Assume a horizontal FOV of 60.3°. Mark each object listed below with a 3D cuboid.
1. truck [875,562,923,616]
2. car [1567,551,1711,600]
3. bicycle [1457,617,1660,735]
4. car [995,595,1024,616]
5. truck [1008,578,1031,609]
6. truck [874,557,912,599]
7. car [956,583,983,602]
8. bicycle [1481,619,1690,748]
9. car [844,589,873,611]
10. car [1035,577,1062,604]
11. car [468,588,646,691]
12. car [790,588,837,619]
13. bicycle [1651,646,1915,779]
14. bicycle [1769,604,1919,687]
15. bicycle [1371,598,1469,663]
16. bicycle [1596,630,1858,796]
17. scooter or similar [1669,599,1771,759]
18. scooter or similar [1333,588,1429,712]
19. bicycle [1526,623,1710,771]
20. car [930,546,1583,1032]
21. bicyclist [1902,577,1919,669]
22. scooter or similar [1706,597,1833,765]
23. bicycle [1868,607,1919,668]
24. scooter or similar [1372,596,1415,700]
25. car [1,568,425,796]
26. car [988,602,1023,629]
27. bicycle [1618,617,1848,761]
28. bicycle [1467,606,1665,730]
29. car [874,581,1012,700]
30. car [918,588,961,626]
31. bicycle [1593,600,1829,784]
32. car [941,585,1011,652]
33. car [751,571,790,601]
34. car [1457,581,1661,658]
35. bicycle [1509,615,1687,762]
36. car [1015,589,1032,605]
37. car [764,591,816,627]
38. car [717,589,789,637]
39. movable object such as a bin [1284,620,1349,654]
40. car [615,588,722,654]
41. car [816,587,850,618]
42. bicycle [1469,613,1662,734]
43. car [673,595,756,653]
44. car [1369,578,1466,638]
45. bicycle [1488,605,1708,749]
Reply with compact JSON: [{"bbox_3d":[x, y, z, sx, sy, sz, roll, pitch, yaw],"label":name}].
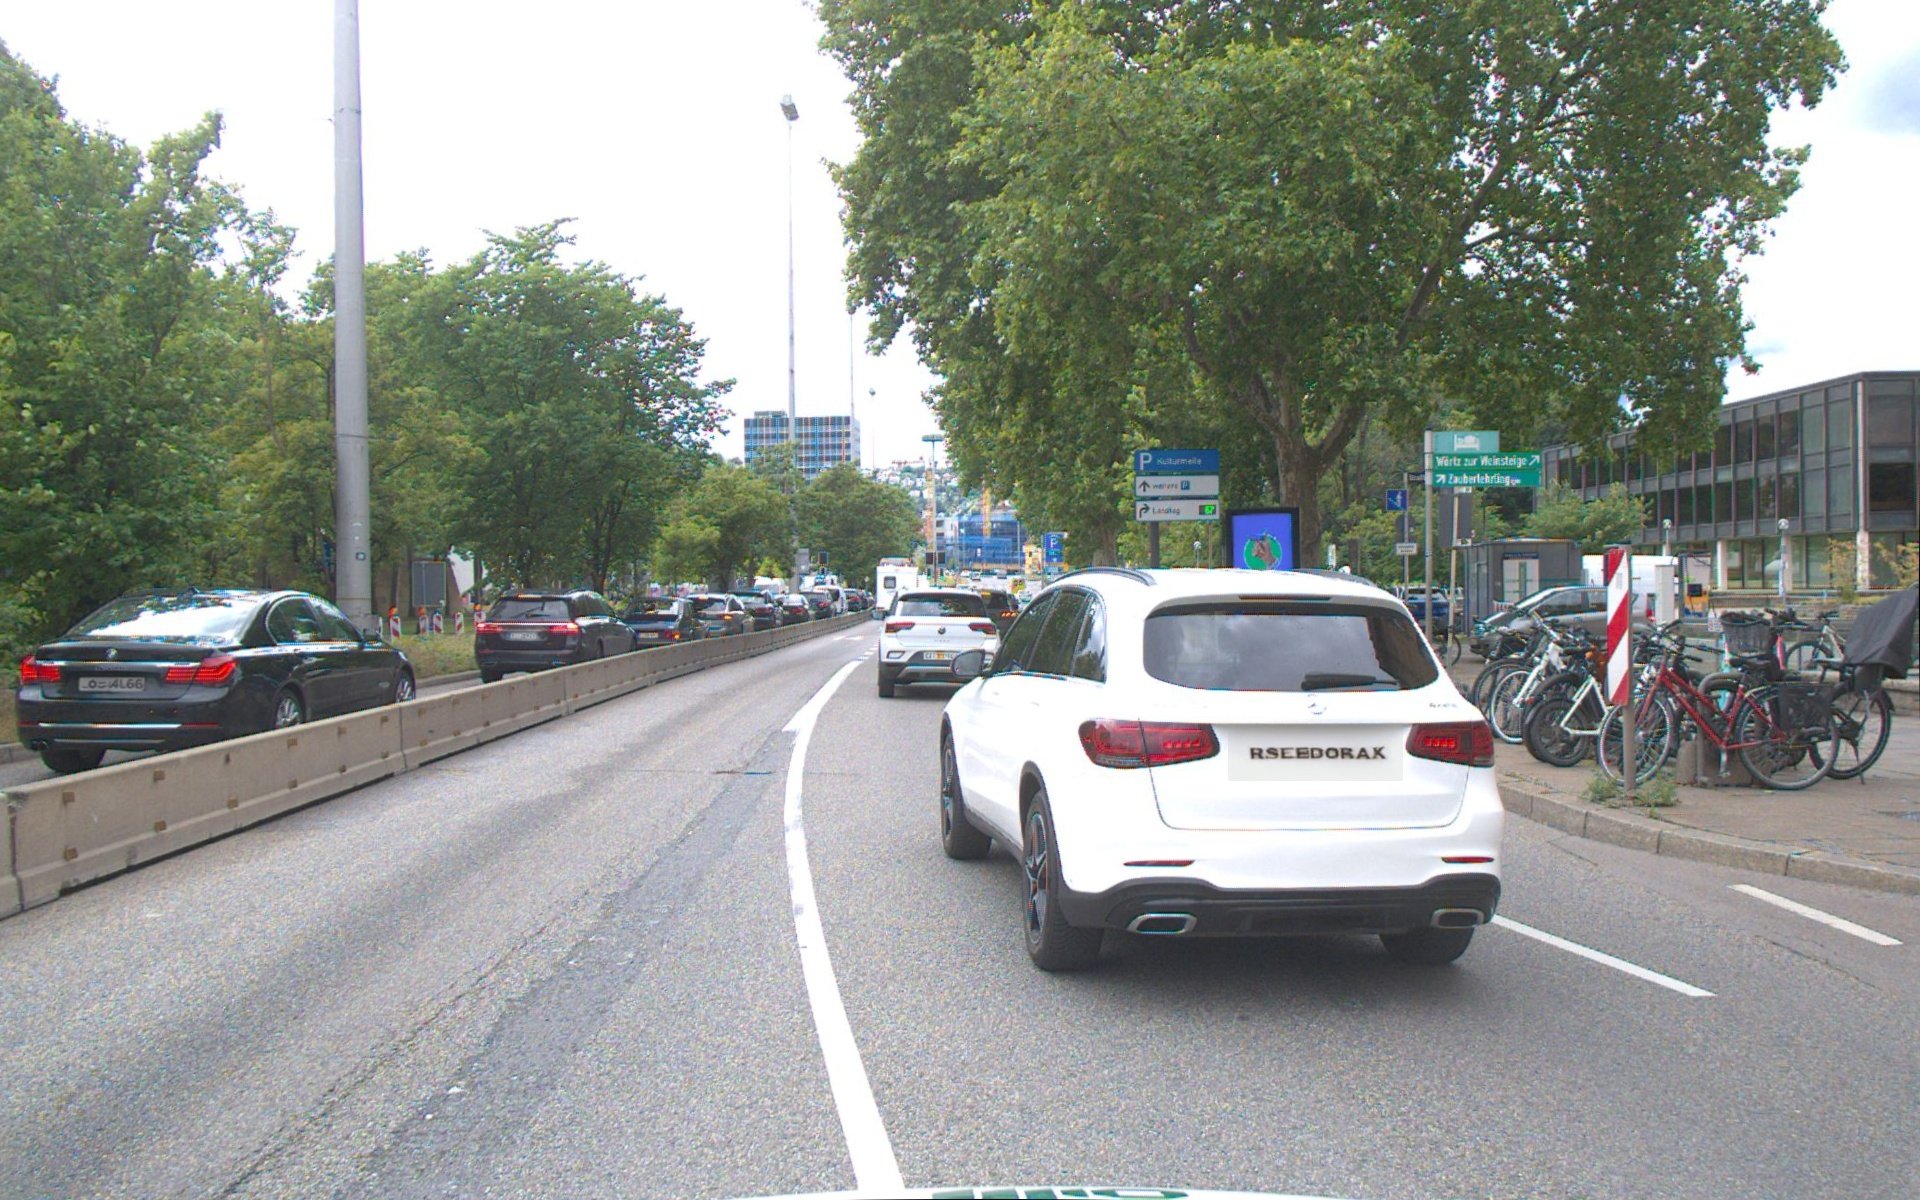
[{"bbox_3d":[-3.450,-0.629,94.602,2.567,2.911,7.077,1,0,-1],"label":"truck"},{"bbox_3d":[32.799,-1.179,80.034,5.981,2.300,2.402,0,0,2],"label":"car"},{"bbox_3d":[5.939,0.741,16.507,1.817,1.110,0.666,1,0,12],"label":"bicycle"},{"bbox_3d":[3.324,0.381,111.441,1.907,1.343,4.017,0,0,1],"label":"car"},{"bbox_3d":[8.070,-0.880,225.376,2.818,4.175,6.638,1,0,1],"label":"truck"},{"bbox_3d":[-4.997,-1.615,124.321,2.637,3.044,5.636,1,0,-1],"label":"truck"},{"bbox_3d":[0.699,-0.515,118.802,1.907,1.343,4.017,0,0,1],"label":"car"},{"bbox_3d":[5.697,0.750,15.123,1.691,1.110,0.575,1,0,8],"label":"bicycle"},{"bbox_3d":[-6.497,0.006,106.082,1.625,1.343,3.548,0,0,1],"label":"car"},{"bbox_3d":[6.888,-0.758,128.383,1.952,2.049,4.000,0,0,1],"label":"car"},{"bbox_3d":[-6.515,0.589,27.251,1.779,1.525,4.768,-1,0,0],"label":"car"},{"bbox_3d":[-6.542,0.153,74.028,1.624,1.343,3.549,0,0,3],"label":"car"},{"bbox_3d":[6.142,0.824,12.430,1.692,0.933,0.614,0,0,18],"label":"bicycle"},{"bbox_3d":[12.557,0.639,23.481,1.970,1.145,0.389,0,0,-1],"label":"bicycle"},{"bbox_3d":[8.876,0.591,31.927,1.748,1.242,0.492,0,0,2],"label":"bicycle"},{"bbox_3d":[5.393,0.774,11.722,1.628,1.093,0.585,0,0,19],"label":"bicycle"},{"bbox_3d":[6.250,0.627,13.648,0.416,1.245,1.313,1,-1,9],"label":"scooter or similar"},{"bbox_3d":[4.791,0.553,18.899,0.711,1.354,1.413,1,0,-1],"label":"scooter or similar"},{"bbox_3d":[5.401,0.770,13.559,1.590,1.150,0.466,1,0,-27],"label":"bicycle"},{"bbox_3d":[1.029,0.648,7.975,1.755,1.653,4.428,0,0,-9],"label":"car"},{"bbox_3d":[18.705,0.448,32.213,0.428,1.778,0.474,-1,0,-8],"label":"bicyclist"},{"bbox_3d":[6.577,0.632,13.489,0.550,1.301,1.149,1,0,5],"label":"scooter or similar"},{"bbox_3d":[18.449,0.712,31.919,1.716,1.151,0.443,-1,0,-9],"label":"bicycle"},{"bbox_3d":[5.615,0.602,21.457,0.422,1.303,1.435,1,0,11],"label":"scooter or similar"},{"bbox_3d":[-6.282,0.608,14.628,1.886,1.664,4.931,0,0,-5],"label":"car"},{"bbox_3d":[2.508,0.861,92.595,1.907,1.453,4.017,0,0,1],"label":"car"},{"bbox_3d":[5.920,0.672,12.716,1.529,1.046,0.436,1,0,11],"label":"bicycle"},{"bbox_3d":[5.665,0.622,15.521,1.691,1.110,0.381,1,0,12],"label":"bicycle"},{"bbox_3d":[-0.329,0.564,24.739,1.761,1.636,3.750,0,0,-5],"label":"car"},{"bbox_3d":[-0.788,0.274,63.902,1.625,1.438,3.547,0,0,0],"label":"car"},{"bbox_3d":[5.474,0.646,12.136,1.510,1.279,0.543,1,0,18],"label":"bicycle"},{"bbox_3d":[0.380,0.460,42.765,1.626,1.668,3.545,0,0,-3],"label":"car"},{"bbox_3d":[-13.267,-0.960,116.150,2.072,2.004,5.578,-1,0,0],"label":"car"},{"bbox_3d":[12.707,0.404,35.235,3.757,1.596,1.679,0,0,0],"label":"car"},{"bbox_3d":[5.253,0.708,13.597,1.590,1.150,0.405,1,0,-27],"label":"bicycle"},{"bbox_3d":[6.868,-0.287,179.728,1.722,1.698,4.168,0,0,0],"label":"car"},{"bbox_3d":[-6.390,0.331,62.497,1.625,1.343,3.547,0,0,-1],"label":"car"},{"bbox_3d":[-6.544,0.410,52.573,1.739,1.445,4.000,-1,0,0],"label":"car"},{"bbox_3d":[7.454,0.769,34.634,1.271,0.663,0.729,1,-1,8],"label":"movable object such as a bin"},{"bbox_3d":[-6.564,0.436,37.654,1.644,1.391,4.542,-1,0,0],"label":"car"},{"bbox_3d":[-6.571,0.125,85.908,1.626,1.540,3.545,-1,-1,-3],"label":"car"},{"bbox_3d":[5.806,0.695,15.922,1.691,1.110,0.426,1,0,12],"label":"bicycle"},{"bbox_3d":[-6.456,0.629,43.817,1.627,1.461,3.960,0,0,0],"label":"car"},{"bbox_3d":[13.113,0.193,47.647,1.724,1.579,4.027,-1,1,1],"label":"car"},{"bbox_3d":[5.642,0.670,14.666,1.723,1.230,0.604,1,0,-4],"label":"bicycle"}]
